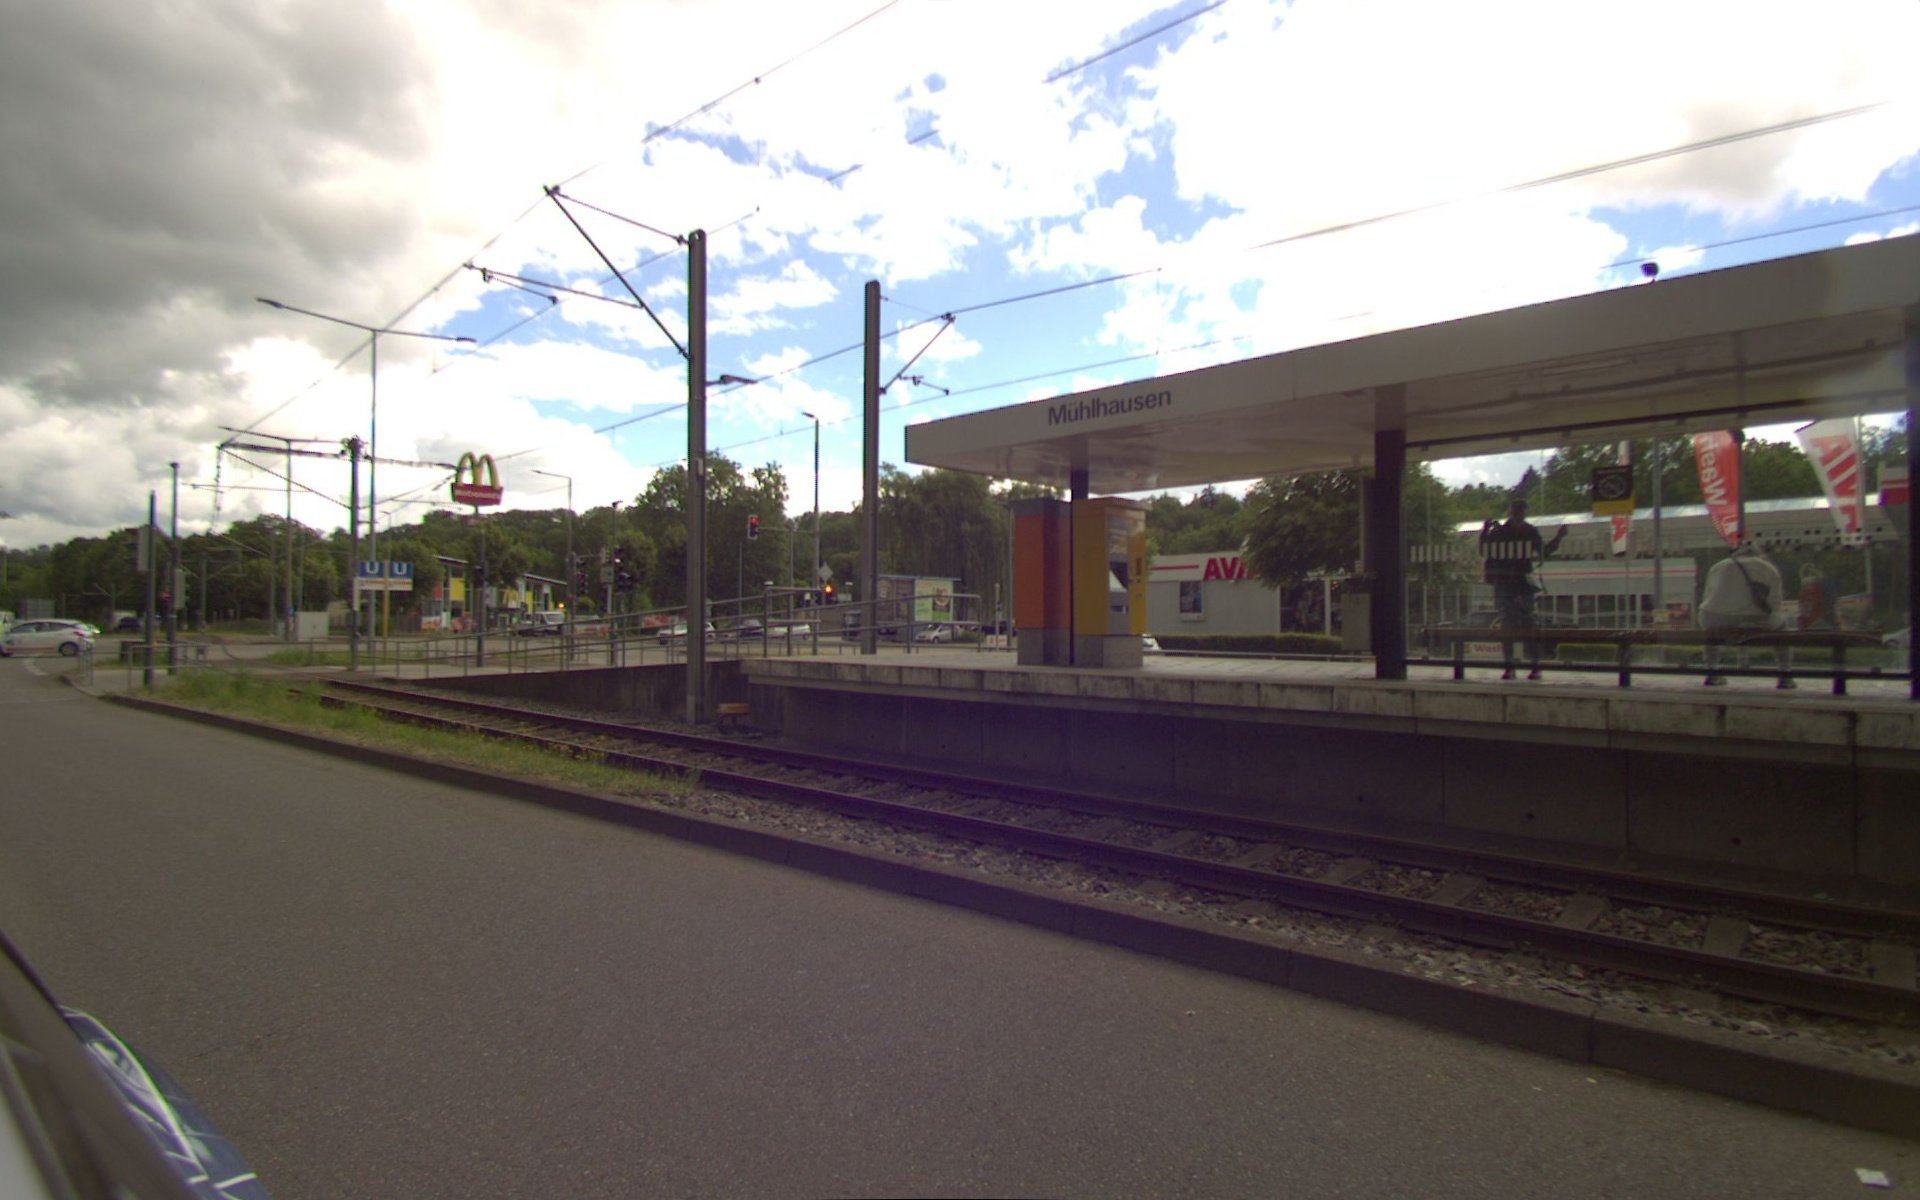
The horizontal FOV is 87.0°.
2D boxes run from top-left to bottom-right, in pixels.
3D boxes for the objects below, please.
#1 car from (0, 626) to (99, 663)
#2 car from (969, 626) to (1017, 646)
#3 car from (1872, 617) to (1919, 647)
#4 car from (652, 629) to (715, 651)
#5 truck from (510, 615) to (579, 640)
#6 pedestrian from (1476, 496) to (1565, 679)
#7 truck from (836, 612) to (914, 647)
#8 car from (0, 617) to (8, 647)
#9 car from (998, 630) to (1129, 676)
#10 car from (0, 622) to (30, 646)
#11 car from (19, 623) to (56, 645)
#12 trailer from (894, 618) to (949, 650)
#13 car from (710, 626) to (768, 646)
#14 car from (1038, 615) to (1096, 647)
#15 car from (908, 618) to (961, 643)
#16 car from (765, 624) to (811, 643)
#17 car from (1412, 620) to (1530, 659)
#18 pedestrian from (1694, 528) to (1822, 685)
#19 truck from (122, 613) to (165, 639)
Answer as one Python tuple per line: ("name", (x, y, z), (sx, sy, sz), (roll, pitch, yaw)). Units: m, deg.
("car", (-37.272, 1.773, 40.644), (3.763, 1.465, 1.637), (0, -2, -26))
("car", (2.977, 3.263, 92.504), (3.975, 1.855, 1.984), (-1, -2, 24))
("car", (56.410, 1.874, 59.053), (4.430, 1.719, 1.894), (0, -3, 33))
("car", (-19.276, 2.773, 70.664), (1.788, 1.443, 4.376), (-1, -1, 28))
("truck", (-33.720, 2.218, 82.045), (6.195, 1.920, 2.565), (-1, -3, 41))
("pedestrian", (5.208, -0.097, 9.404), (0.577, 1.633, 0.572), (3, -3, -43))
("truck", (-6.258, 2.211, 75.563), (2.386, 2.513, 5.744), (-1, -2, 42))
("car", (-58.708, 1.927, 60.772), (1.780, 1.839, 4.009), (1, -2, -37))
("car", (3.288, 1.669, 32.624), (4.029, 1.360, 1.596), (-1, -2, 42))
("car", (-63.688, 2.223, 67.513), (1.967, 1.547, 4.009), (3, -3, -37))
("car", (-70.704, 2.602, 77.602), (1.802, 1.564, 4.007), (3, -3, -39))
("trailer", (-2.851, 2.576, 75.198), (1.559, 2.275, 4.332), (-1, -3, 40))
("car", (-16.438, 2.685, 75.506), (1.790, 1.443, 4.237), (-1, -2, 32))
("car", (7.395, 2.144, 69.789), (1.845, 2.067, 4.323), (-1, -3, 40))
("car", (-1.806, 2.190, 72.340), (1.753, 1.756, 3.806), (-1, -2, 39))
("car", (-14.407, 2.825, 84.737), (1.724, 1.566, 3.597), (-1, -3, 35))
("car", (19.047, 1.458, 37.823), (3.635, 1.360, 1.595), (-2, -2, 43))
("pedestrian", (6.473, 0.062, 8.209), (0.728, 1.198, 0.760), (-1, -2, 44))
("truck", (-118.119, 3.768, 146.386), (8.697, 3.587, 3.390), (-1, -3, 42))
